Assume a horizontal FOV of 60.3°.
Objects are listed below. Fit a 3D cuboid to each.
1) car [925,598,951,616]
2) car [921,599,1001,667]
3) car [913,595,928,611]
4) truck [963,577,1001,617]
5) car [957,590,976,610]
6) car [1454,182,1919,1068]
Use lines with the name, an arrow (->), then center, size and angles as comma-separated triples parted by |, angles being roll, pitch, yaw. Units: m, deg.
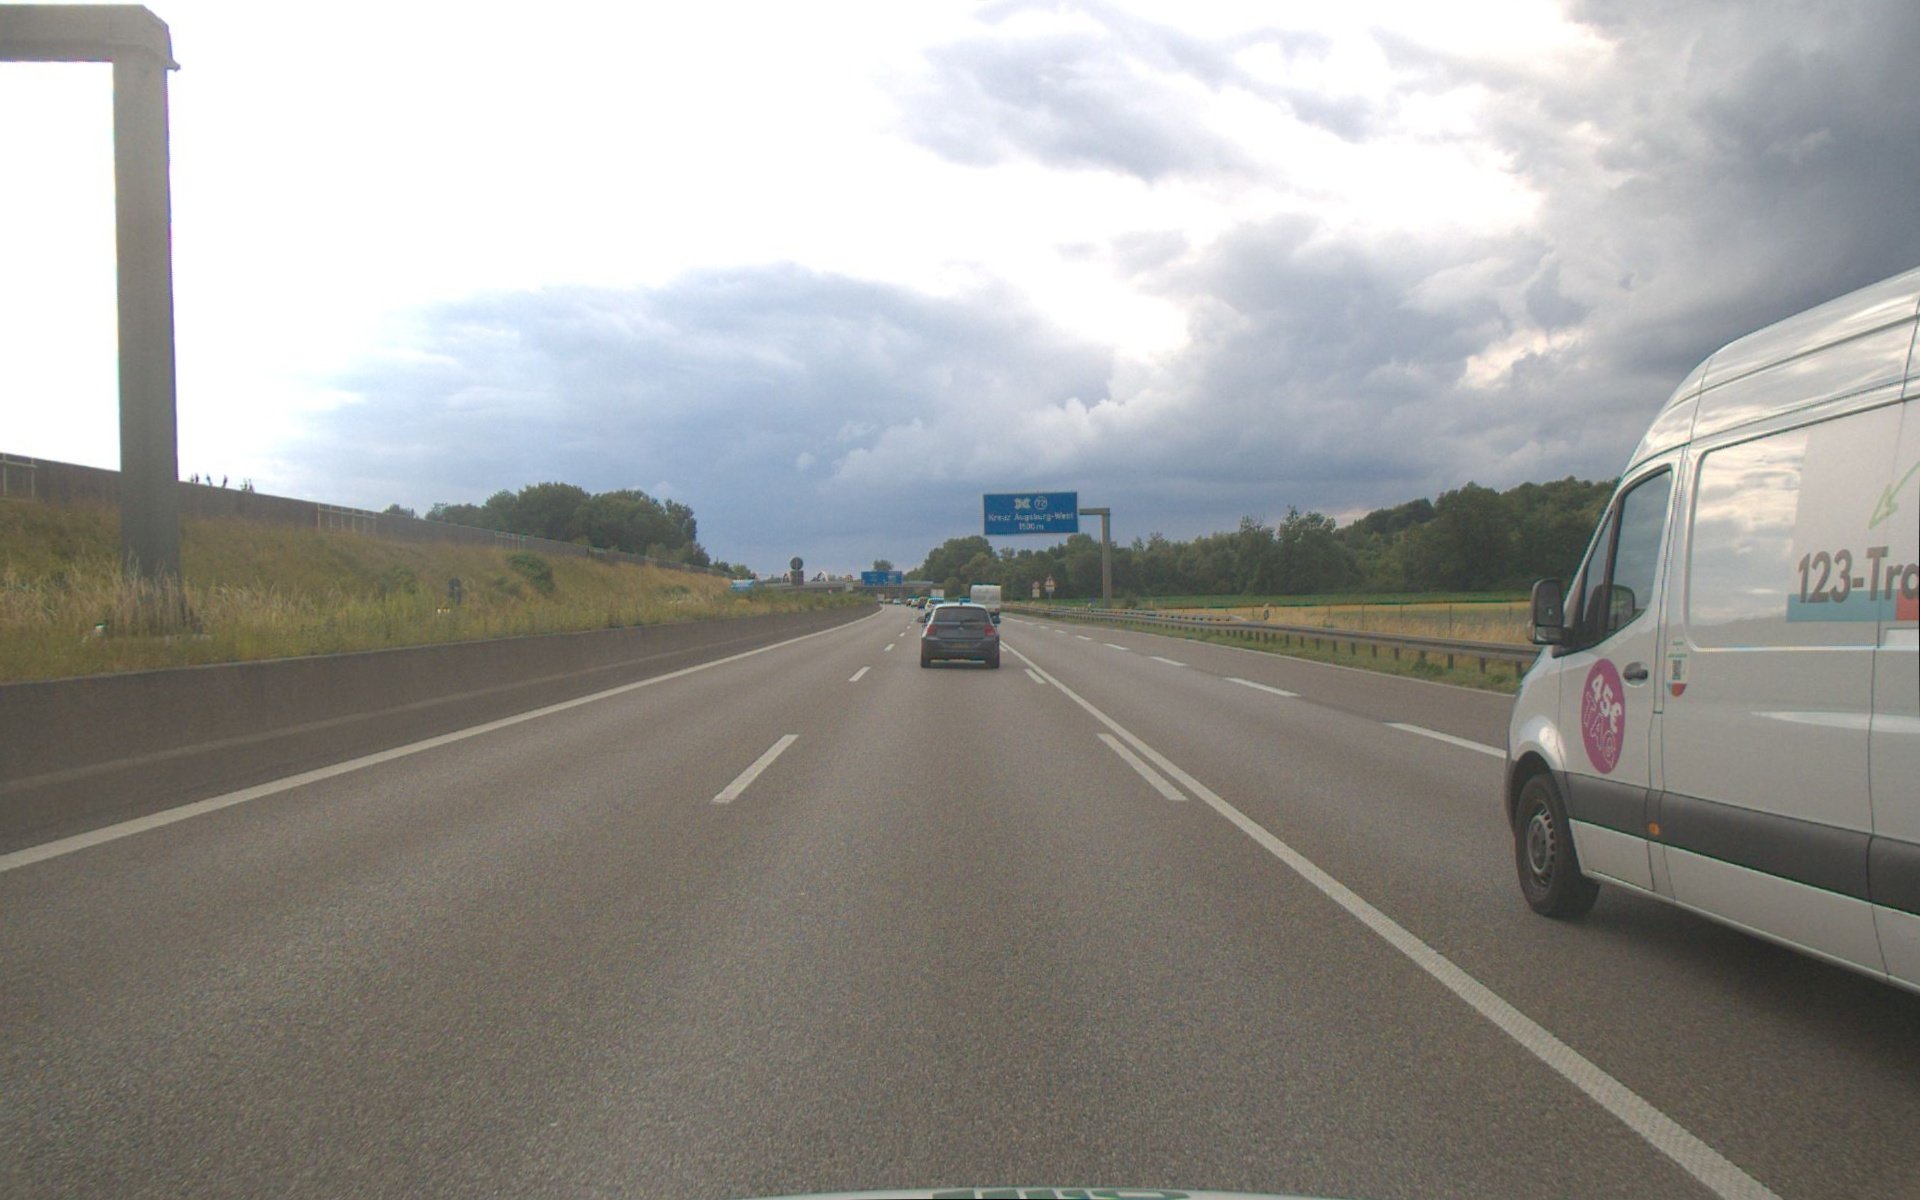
car -> -1.761, 0.553, 130.484 | 1.953, 1.321, 3.999 | -1, 0, -1
car -> 0.001, 0.708, 37.329 | 1.708, 1.413, 4.000 | 1, 0, -1
car -> -5.379, 0.389, 224.414 | 1.953, 2.049, 3.999 | -1, 0, -1
truck -> 1.711, -0.222, 133.898 | 2.655, 3.016, 12.444 | 1, 0, -1
car -> 0.656, -0.014, 181.373 | 1.953, 2.049, 3.999 | -1, 0, -1
car -> 3.908, 0.066, 6.248 | 2.176, 2.613, 6.255 | 0, 0, -1
